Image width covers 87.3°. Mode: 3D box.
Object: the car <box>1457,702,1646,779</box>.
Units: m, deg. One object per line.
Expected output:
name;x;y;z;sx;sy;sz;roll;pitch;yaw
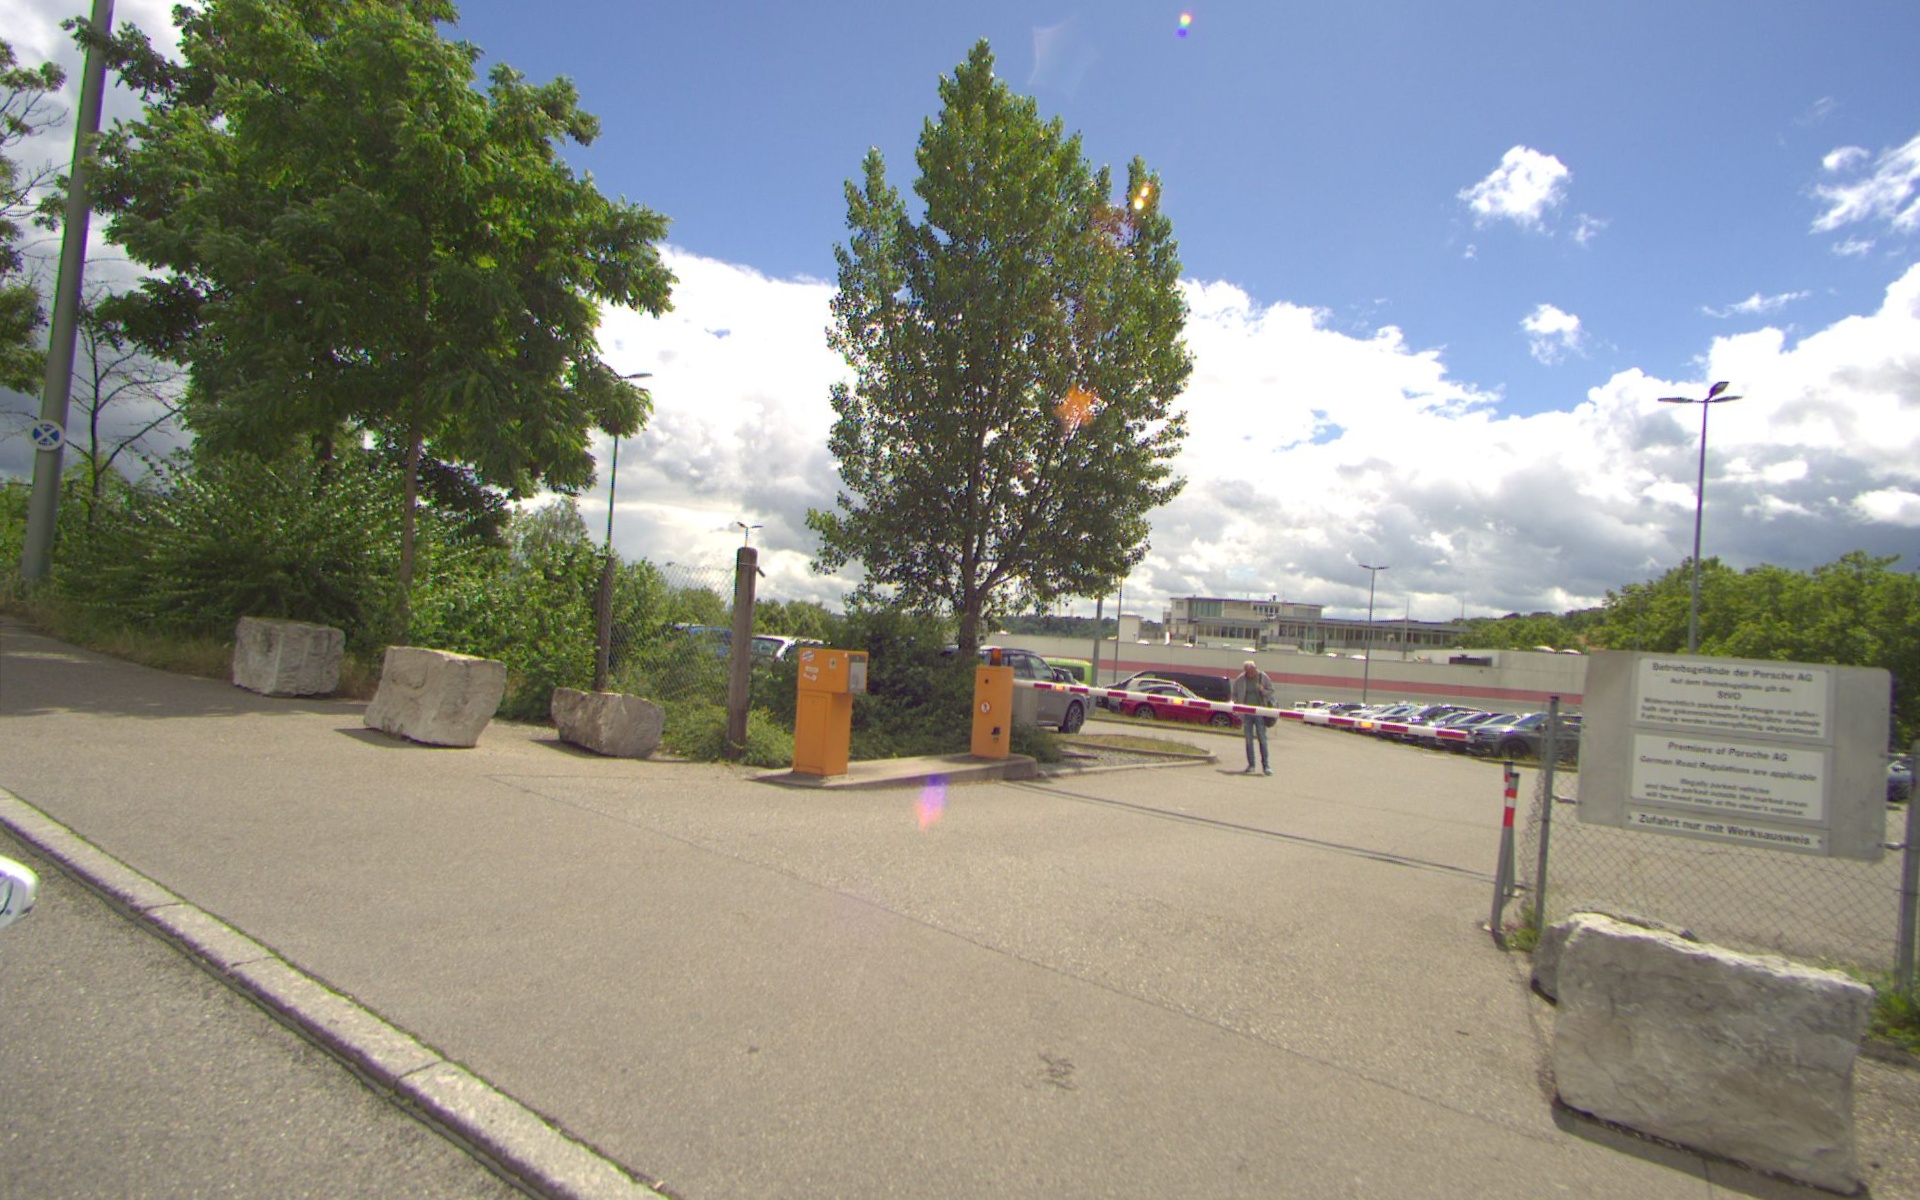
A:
car;17.141;4.055;29.324;4.267;1.689;1.874;5;-2;5

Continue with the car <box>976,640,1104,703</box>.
car;3.029;2.716;37.964;4.558;1.894;1.726;5;-5;6

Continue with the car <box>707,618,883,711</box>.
car;-3.445;1.431;21.948;1.837;1.688;4.354;4;-3;19

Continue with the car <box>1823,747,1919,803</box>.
car;34.872;6.533;37.029;4.266;1.689;1.875;4;-2;10

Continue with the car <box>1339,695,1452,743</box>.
car;20.275;5.538;46.965;4.358;1.804;2.005;5;-5;8

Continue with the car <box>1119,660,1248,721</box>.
car;8.175;3.353;37.119;4.358;1.804;2.005;5;-5;8

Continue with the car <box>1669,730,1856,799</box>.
car;22.621;4.616;28.499;3.646;1.403;1.875;5;-3;8

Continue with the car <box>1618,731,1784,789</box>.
car;22.869;4.919;31.170;3.646;1.279;1.875;5;-3;8

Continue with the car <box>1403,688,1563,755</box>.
car;17.863;4.155;34.541;4.358;1.804;2.005;5;-5;8

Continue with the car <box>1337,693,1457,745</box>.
car;19.159;5.215;44.297;4.358;1.804;2.005;5;-5;8

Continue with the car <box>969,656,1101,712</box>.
car;2.444;2.708;32.323;3.923;1.405;1.726;4;-5;12

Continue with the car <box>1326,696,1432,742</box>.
car;20.530;5.835;49.415;4.358;1.804;2.005;5;-5;8

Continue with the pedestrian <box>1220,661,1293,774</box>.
pedestrian;4.826;1.905;16.425;0.864;1.715;0.816;5;-4;3

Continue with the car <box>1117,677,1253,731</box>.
car;6.891;3.207;31.029;3.923;1.275;1.507;4;-5;12

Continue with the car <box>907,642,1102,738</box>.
car;0.975;1.791;19.591;1.751;1.501;3.990;1;-7;38

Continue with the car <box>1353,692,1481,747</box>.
car;18.869;4.935;41.682;4.358;1.804;2.005;5;-5;8

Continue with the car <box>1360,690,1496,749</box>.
car;18.221;4.649;39.332;4.358;1.804;2.005;5;-5;8

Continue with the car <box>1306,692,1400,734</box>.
car;21.333;6.144;54.757;4.358;1.804;2.005;5;-5;8

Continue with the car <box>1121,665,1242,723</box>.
car;8.604;3.690;39.439;4.358;1.804;2.005;5;-5;8

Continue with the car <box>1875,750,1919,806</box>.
car;34.018;6.192;33.941;4.266;1.689;1.875;4;-2;10

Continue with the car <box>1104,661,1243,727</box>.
car;7.168;3.207;34.183;4.358;1.781;2.005;5;-5;8

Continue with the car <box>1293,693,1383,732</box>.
car;21.421;6.388;57.206;4.358;1.804;2.005;5;-5;8

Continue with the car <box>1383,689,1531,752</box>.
car;18.068;4.389;36.775;4.358;1.804;2.005;5;-5;8

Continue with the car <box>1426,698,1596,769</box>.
car;17.292;4.168;31.768;4.267;1.689;1.874;4;-2;14

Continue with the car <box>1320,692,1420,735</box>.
car;21.234;5.897;52.288;4.358;1.804;2.005;5;-5;8

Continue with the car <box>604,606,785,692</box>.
car;-6.004;1.193;23.350;1.837;1.688;4.354;4;-3;19

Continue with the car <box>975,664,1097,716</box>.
car;2.674;3.120;34.890;3.923;1.405;1.726;4;-5;12
